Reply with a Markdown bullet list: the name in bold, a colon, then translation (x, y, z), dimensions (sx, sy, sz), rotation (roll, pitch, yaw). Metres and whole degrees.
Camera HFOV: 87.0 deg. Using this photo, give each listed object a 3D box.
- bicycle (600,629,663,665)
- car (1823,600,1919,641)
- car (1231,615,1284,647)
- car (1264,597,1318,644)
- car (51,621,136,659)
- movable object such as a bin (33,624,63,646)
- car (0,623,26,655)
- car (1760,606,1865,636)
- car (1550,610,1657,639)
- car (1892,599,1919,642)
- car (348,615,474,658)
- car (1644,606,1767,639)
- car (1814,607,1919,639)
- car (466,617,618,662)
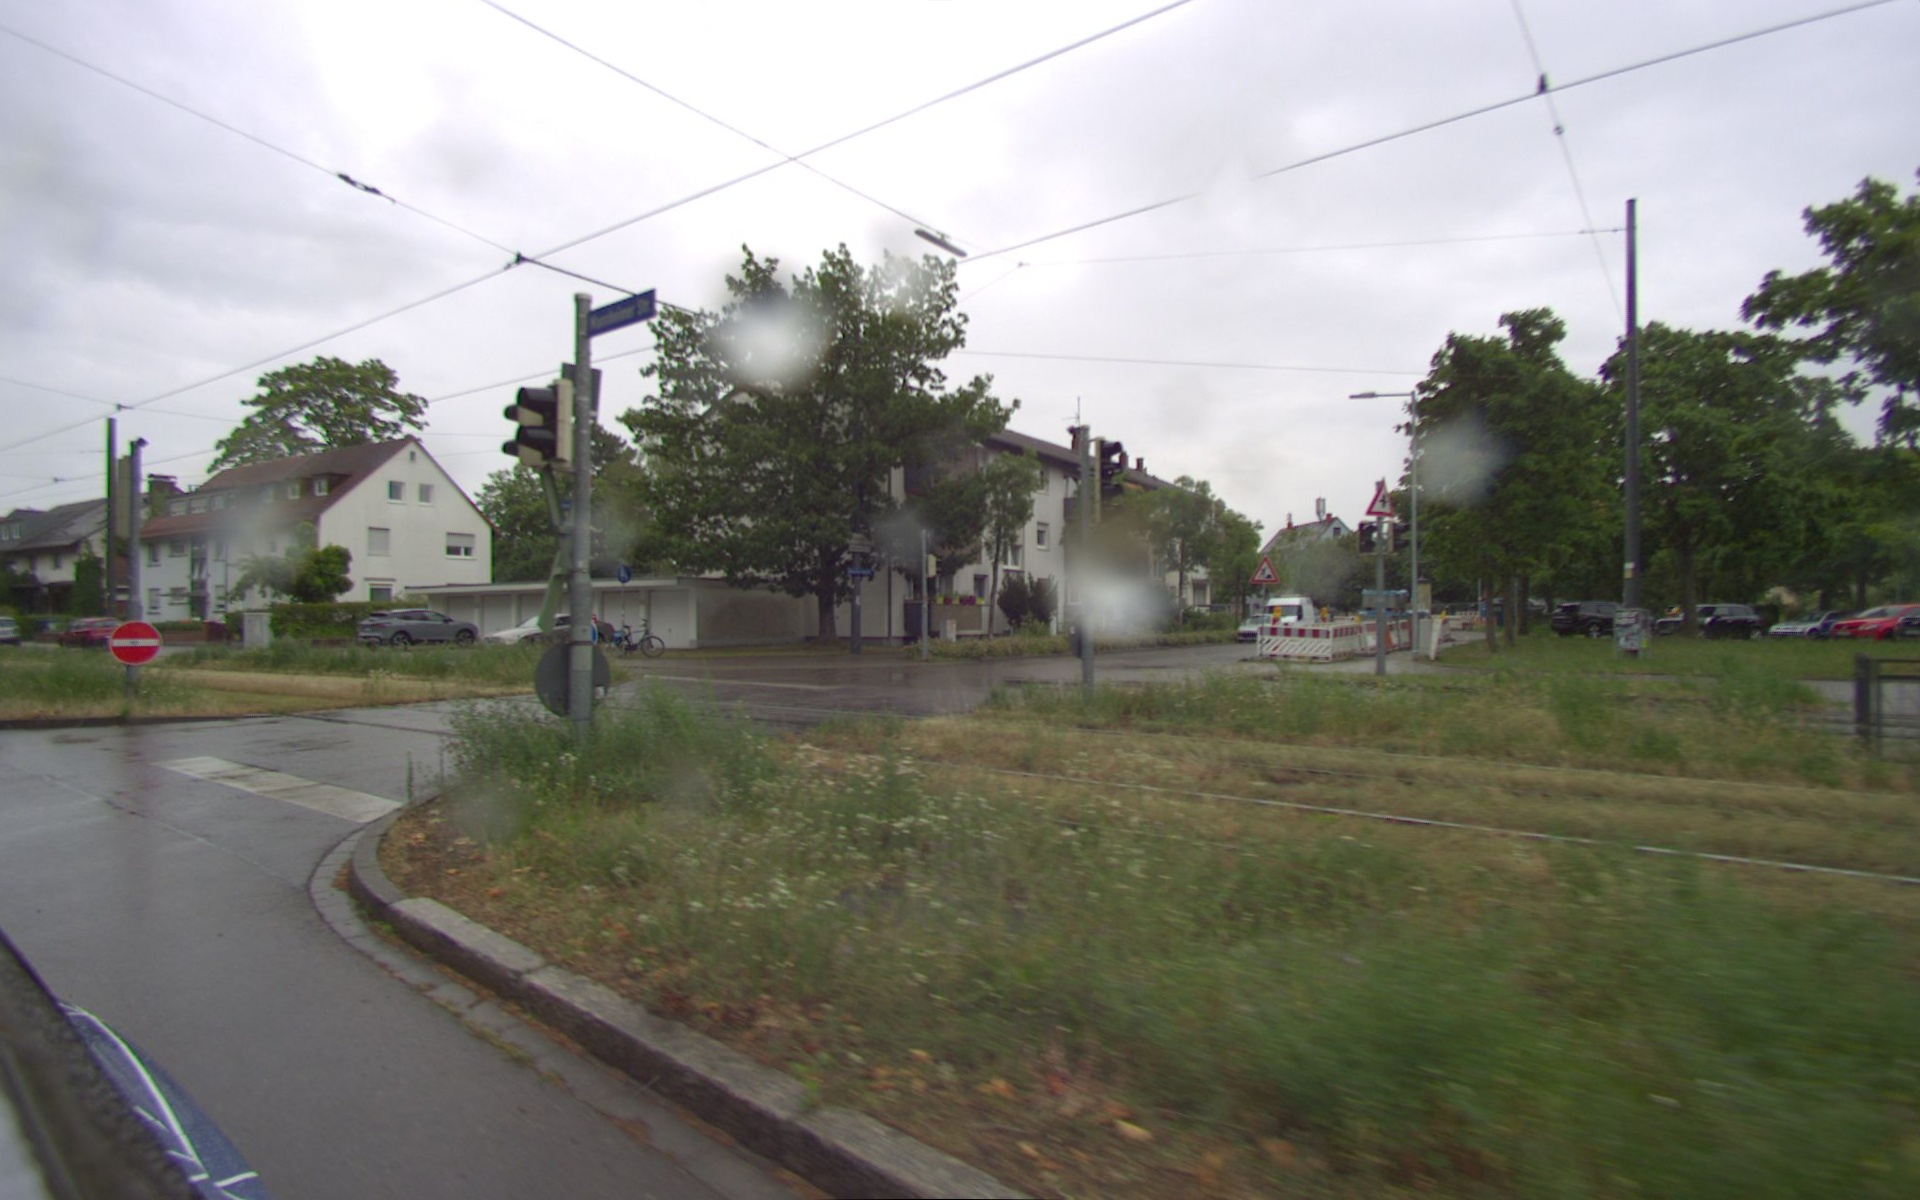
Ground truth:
- **bicycle**: translation (-10.261, 1.467, 31.609), dimensions (1.820, 1.026, 0.481), rotation (-1, 2, 7)
- **car**: translation (29.729, 0.647, 31.979), dimensions (3.684, 1.258, 1.668), rotation (0, -1, -7)
- **car**: translation (14.974, 1.551, 50.857), dimensions (1.746, 1.542, 3.590), rotation (-1, -2, 31)
- **car**: translation (18.390, 1.151, 56.062), dimensions (1.911, 2.465, 4.423), rotation (-1, -2, 31)
- **car**: translation (-39.294, 1.812, 45.884), dimensions (3.960, 1.558, 1.828), rotation (-1, 1, 32)
- **movable object such as a bin**: translation (-55.522, 2.132, 61.624), dimensions (0.737, 1.307, 1.175), rotation (-1, 0, 32)
- **car**: translation (-50.820, 2.044, 52.801), dimensions (4.669, 1.626, 1.978), rotation (-1, 0, 32)
- **car**: translation (39.097, 0.981, 46.458), dimensions (3.682, 1.335, 1.669), rotation (0, -1, -10)
- **car**: translation (28.073, 1.062, 44.176), dimensions (3.684, 1.258, 1.668), rotation (0, -1, -7)
- **car**: translation (29.782, 0.607, 29.590), dimensions (3.684, 1.258, 1.668), rotation (0, -1, -7)
- **car**: translation (-21.490, 1.394, 39.770), dimensions (1.885, 1.588, 3.959), rotation (-1, -2, 30)
- **car**: translation (29.097, 0.881, 39.528), dimensions (3.684, 1.258, 1.668), rotation (0, -1, -7)
- **car**: translation (39.563, 1.004, 44.029), dimensions (3.682, 1.335, 1.669), rotation (0, -1, -10)
- **car**: translation (-14.529, 1.331, 35.428), dimensions (1.843, 1.376, 4.687), rotation (-1, 0, 33)
